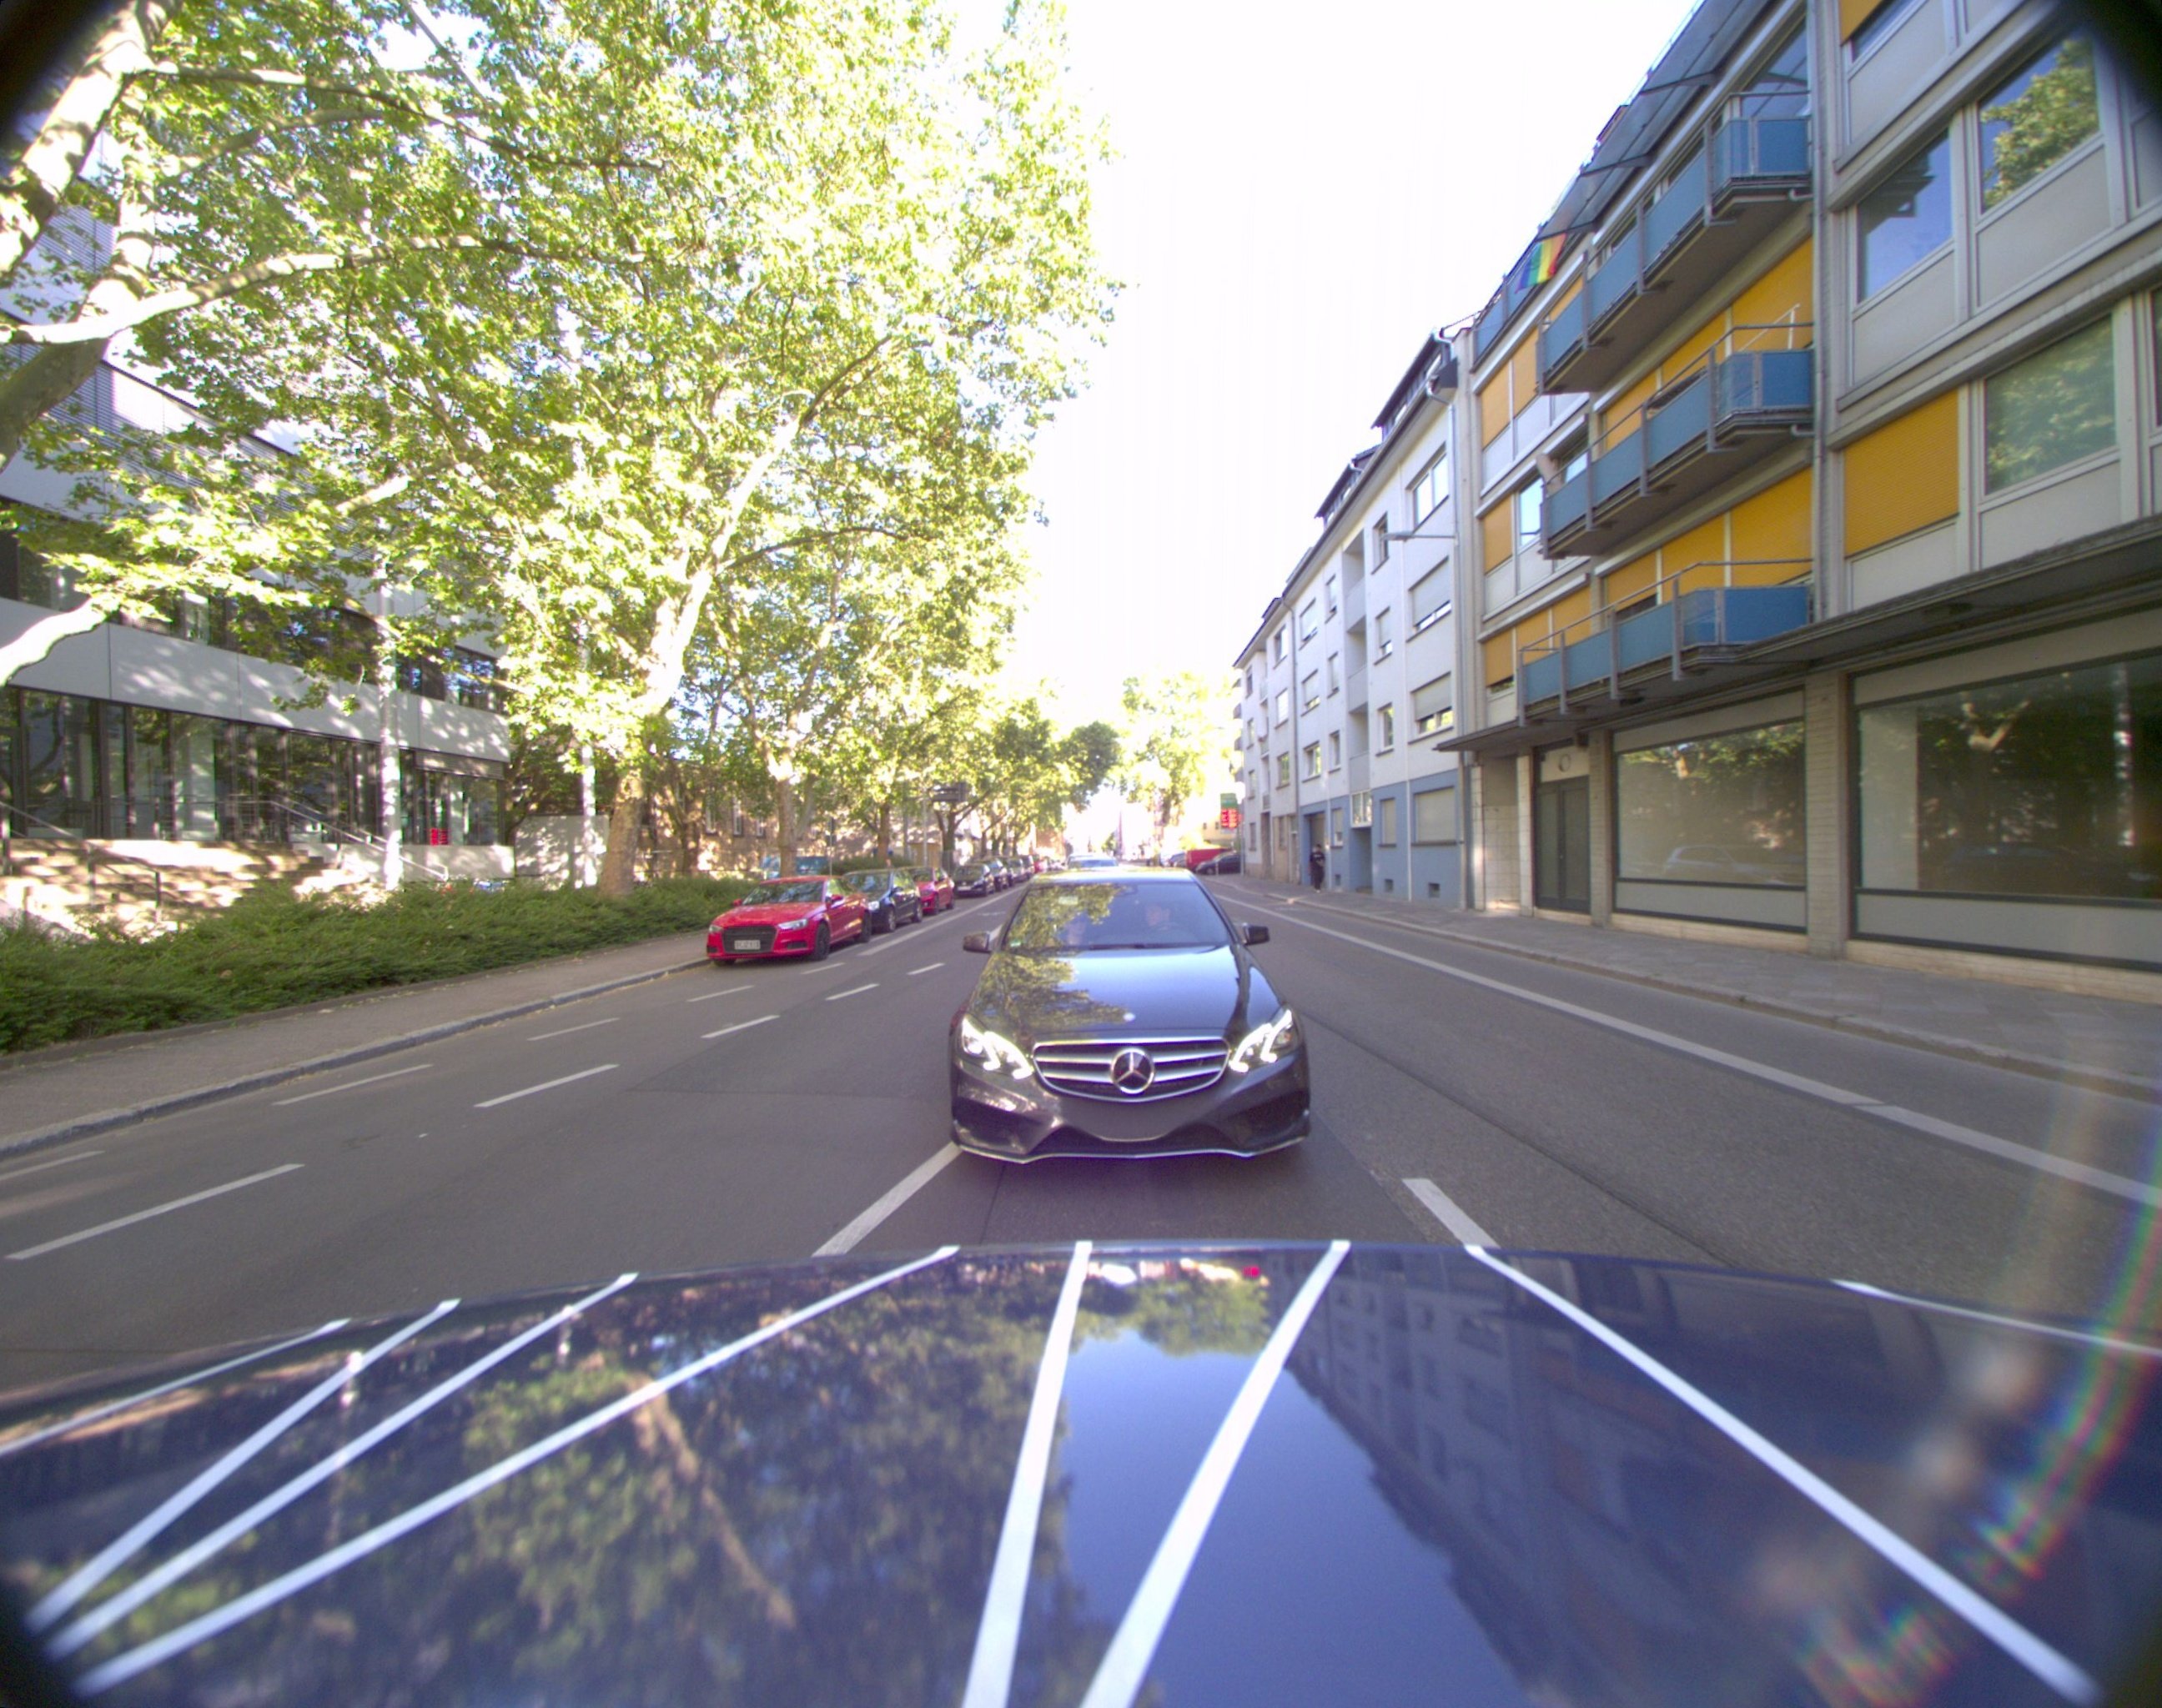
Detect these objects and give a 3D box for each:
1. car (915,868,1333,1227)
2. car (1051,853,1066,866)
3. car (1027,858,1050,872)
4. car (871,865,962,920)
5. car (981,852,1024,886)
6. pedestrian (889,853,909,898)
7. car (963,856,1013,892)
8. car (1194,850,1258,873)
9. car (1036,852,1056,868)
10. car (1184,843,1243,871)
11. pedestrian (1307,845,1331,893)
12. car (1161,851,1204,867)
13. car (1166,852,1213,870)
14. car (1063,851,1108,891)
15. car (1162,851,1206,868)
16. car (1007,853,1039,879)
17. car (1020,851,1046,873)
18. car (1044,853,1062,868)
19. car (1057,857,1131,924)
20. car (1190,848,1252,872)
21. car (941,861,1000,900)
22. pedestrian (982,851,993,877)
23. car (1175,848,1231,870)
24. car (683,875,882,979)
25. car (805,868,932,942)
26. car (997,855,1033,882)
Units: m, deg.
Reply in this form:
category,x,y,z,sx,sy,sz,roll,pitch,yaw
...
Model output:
category,x,y,z,sx,sy,sz,roll,pitch,yaw
car,0.225,0.918,5.576,1.849,1.490,4.302,-1,0,1
car,-3.042,0.683,102.954,1.835,1.667,4.259,-2,0,1
car,-3.987,1.025,71.793,1.835,1.220,4.259,-2,0,1
car,-5.041,1.134,23.845,1.835,1.459,4.168,-2,0,1
car,-4.508,0.821,44.119,1.835,1.787,4.463,-2,0,1
pedestrian,-7.355,0.851,30.701,0.601,1.785,0.593,-2,1,0
car,-4.595,0.964,38.080,1.835,1.596,4.161,-2,0,1
car,10.403,0.519,54.752,4.255,1.392,1.653,-4,0,1
car,-3.935,0.667,86.232,1.835,1.667,4.259,-2,0,1
car,10.418,0.223,60.134,4.255,1.907,1.818,-4,0,0
pedestrian,8.505,0.514,27.173,0.612,1.685,0.655,-2,1,1
car,10.778,0.515,80.619,4.255,1.461,1.653,-4,0,1
car,10.436,0.674,73.197,4.255,1.461,1.653,-4,0,1
car,0.241,0.745,35.765,1.908,1.678,4.813,-2,0,1
car,10.607,0.541,78.655,4.255,1.461,1.653,-4,0,1
car,-4.177,0.811,55.644,1.835,1.750,4.259,-2,0,1
car,-4.142,0.681,66.352,1.835,1.839,4.259,-2,0,1
car,-3.407,0.785,92.847,1.835,1.667,4.259,-2,0,1
car,0.344,0.885,20.109,1.726,1.530,4.000,-1,0,1
car,10.487,0.456,57.054,4.255,1.461,1.653,-4,0,1
car,-4.744,1.103,33.182,1.835,1.459,4.168,-2,0,1
pedestrian,-6.815,0.732,55.576,0.660,1.849,0.641,-2,1,1
car,10.055,0.409,62.716,4.255,1.461,1.653,-4,0,1
car,-5.129,1.177,13.775,1.835,1.396,4.247,-2,0,1
car,-5.039,1.150,18.636,1.835,1.438,4.168,-2,0,1
car,-4.335,0.946,50.613,1.835,1.604,4.259,-2,0,1
